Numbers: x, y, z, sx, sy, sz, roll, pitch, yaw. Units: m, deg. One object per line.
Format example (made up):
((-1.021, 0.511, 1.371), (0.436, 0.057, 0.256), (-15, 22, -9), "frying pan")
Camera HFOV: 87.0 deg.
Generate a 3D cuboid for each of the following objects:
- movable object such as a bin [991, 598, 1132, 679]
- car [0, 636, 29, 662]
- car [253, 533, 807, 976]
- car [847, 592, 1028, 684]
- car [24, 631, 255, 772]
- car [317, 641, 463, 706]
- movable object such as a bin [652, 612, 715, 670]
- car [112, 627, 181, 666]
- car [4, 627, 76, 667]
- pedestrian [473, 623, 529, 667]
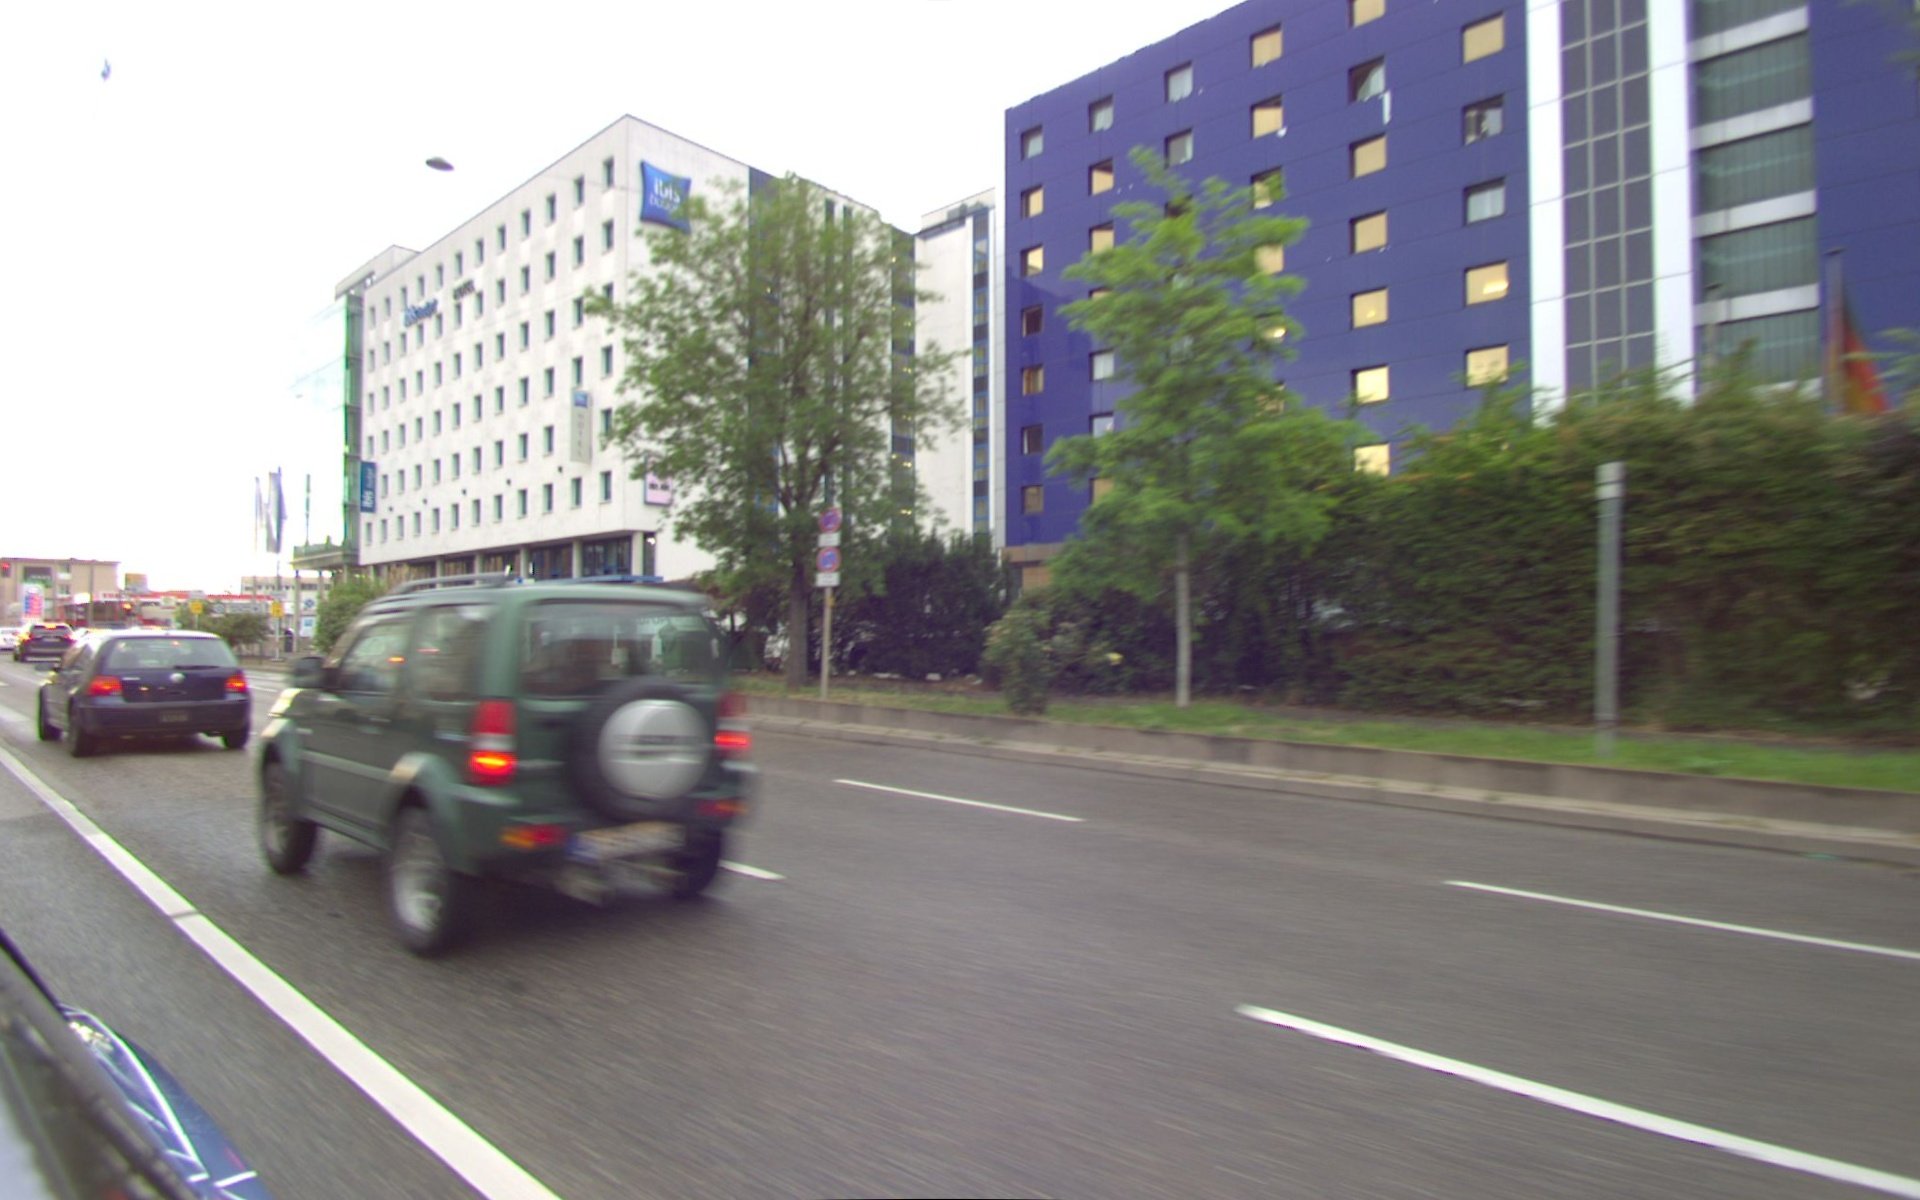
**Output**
((3.799, 1.457, 36.812), (2.161, 2.648, 5.565), (1, -4, 42), "movable object such as a bin")
((-53.590, 2.688, 56.528), (4.961, 1.397, 1.798), (-2, -3, 41), "car")
((-2.511, 0.680, 5.564), (3.418, 1.679, 1.487), (-3, -4, 42), "car")
((-0.608, 0.899, 24.927), (4.315, 2.029, 1.816), (1, -3, 42), "car")
((-10.353, 1.149, 12.685), (3.819, 1.497, 1.641), (-2, -3, 42), "car")
((-13.056, 1.644, 23.066), (4.446, 1.334, 1.603), (-3, -5, 43), "car")
((-7.647, 1.157, 28.026), (0.949, 1.502, 1.378), (-5, -7, 35), "movable object such as a bin")
((-35.870, 2.076, 44.576), (4.033, 1.578, 1.689), (-3, -6, 42), "car")
((-39.751, 2.077, 43.705), (4.448, 1.568, 1.737), (-4, -6, 41), "car")
((-18.870, 1.847, 41.587), (1.966, 1.734, 1.700), (0, -3, -29), "pedestrian")
